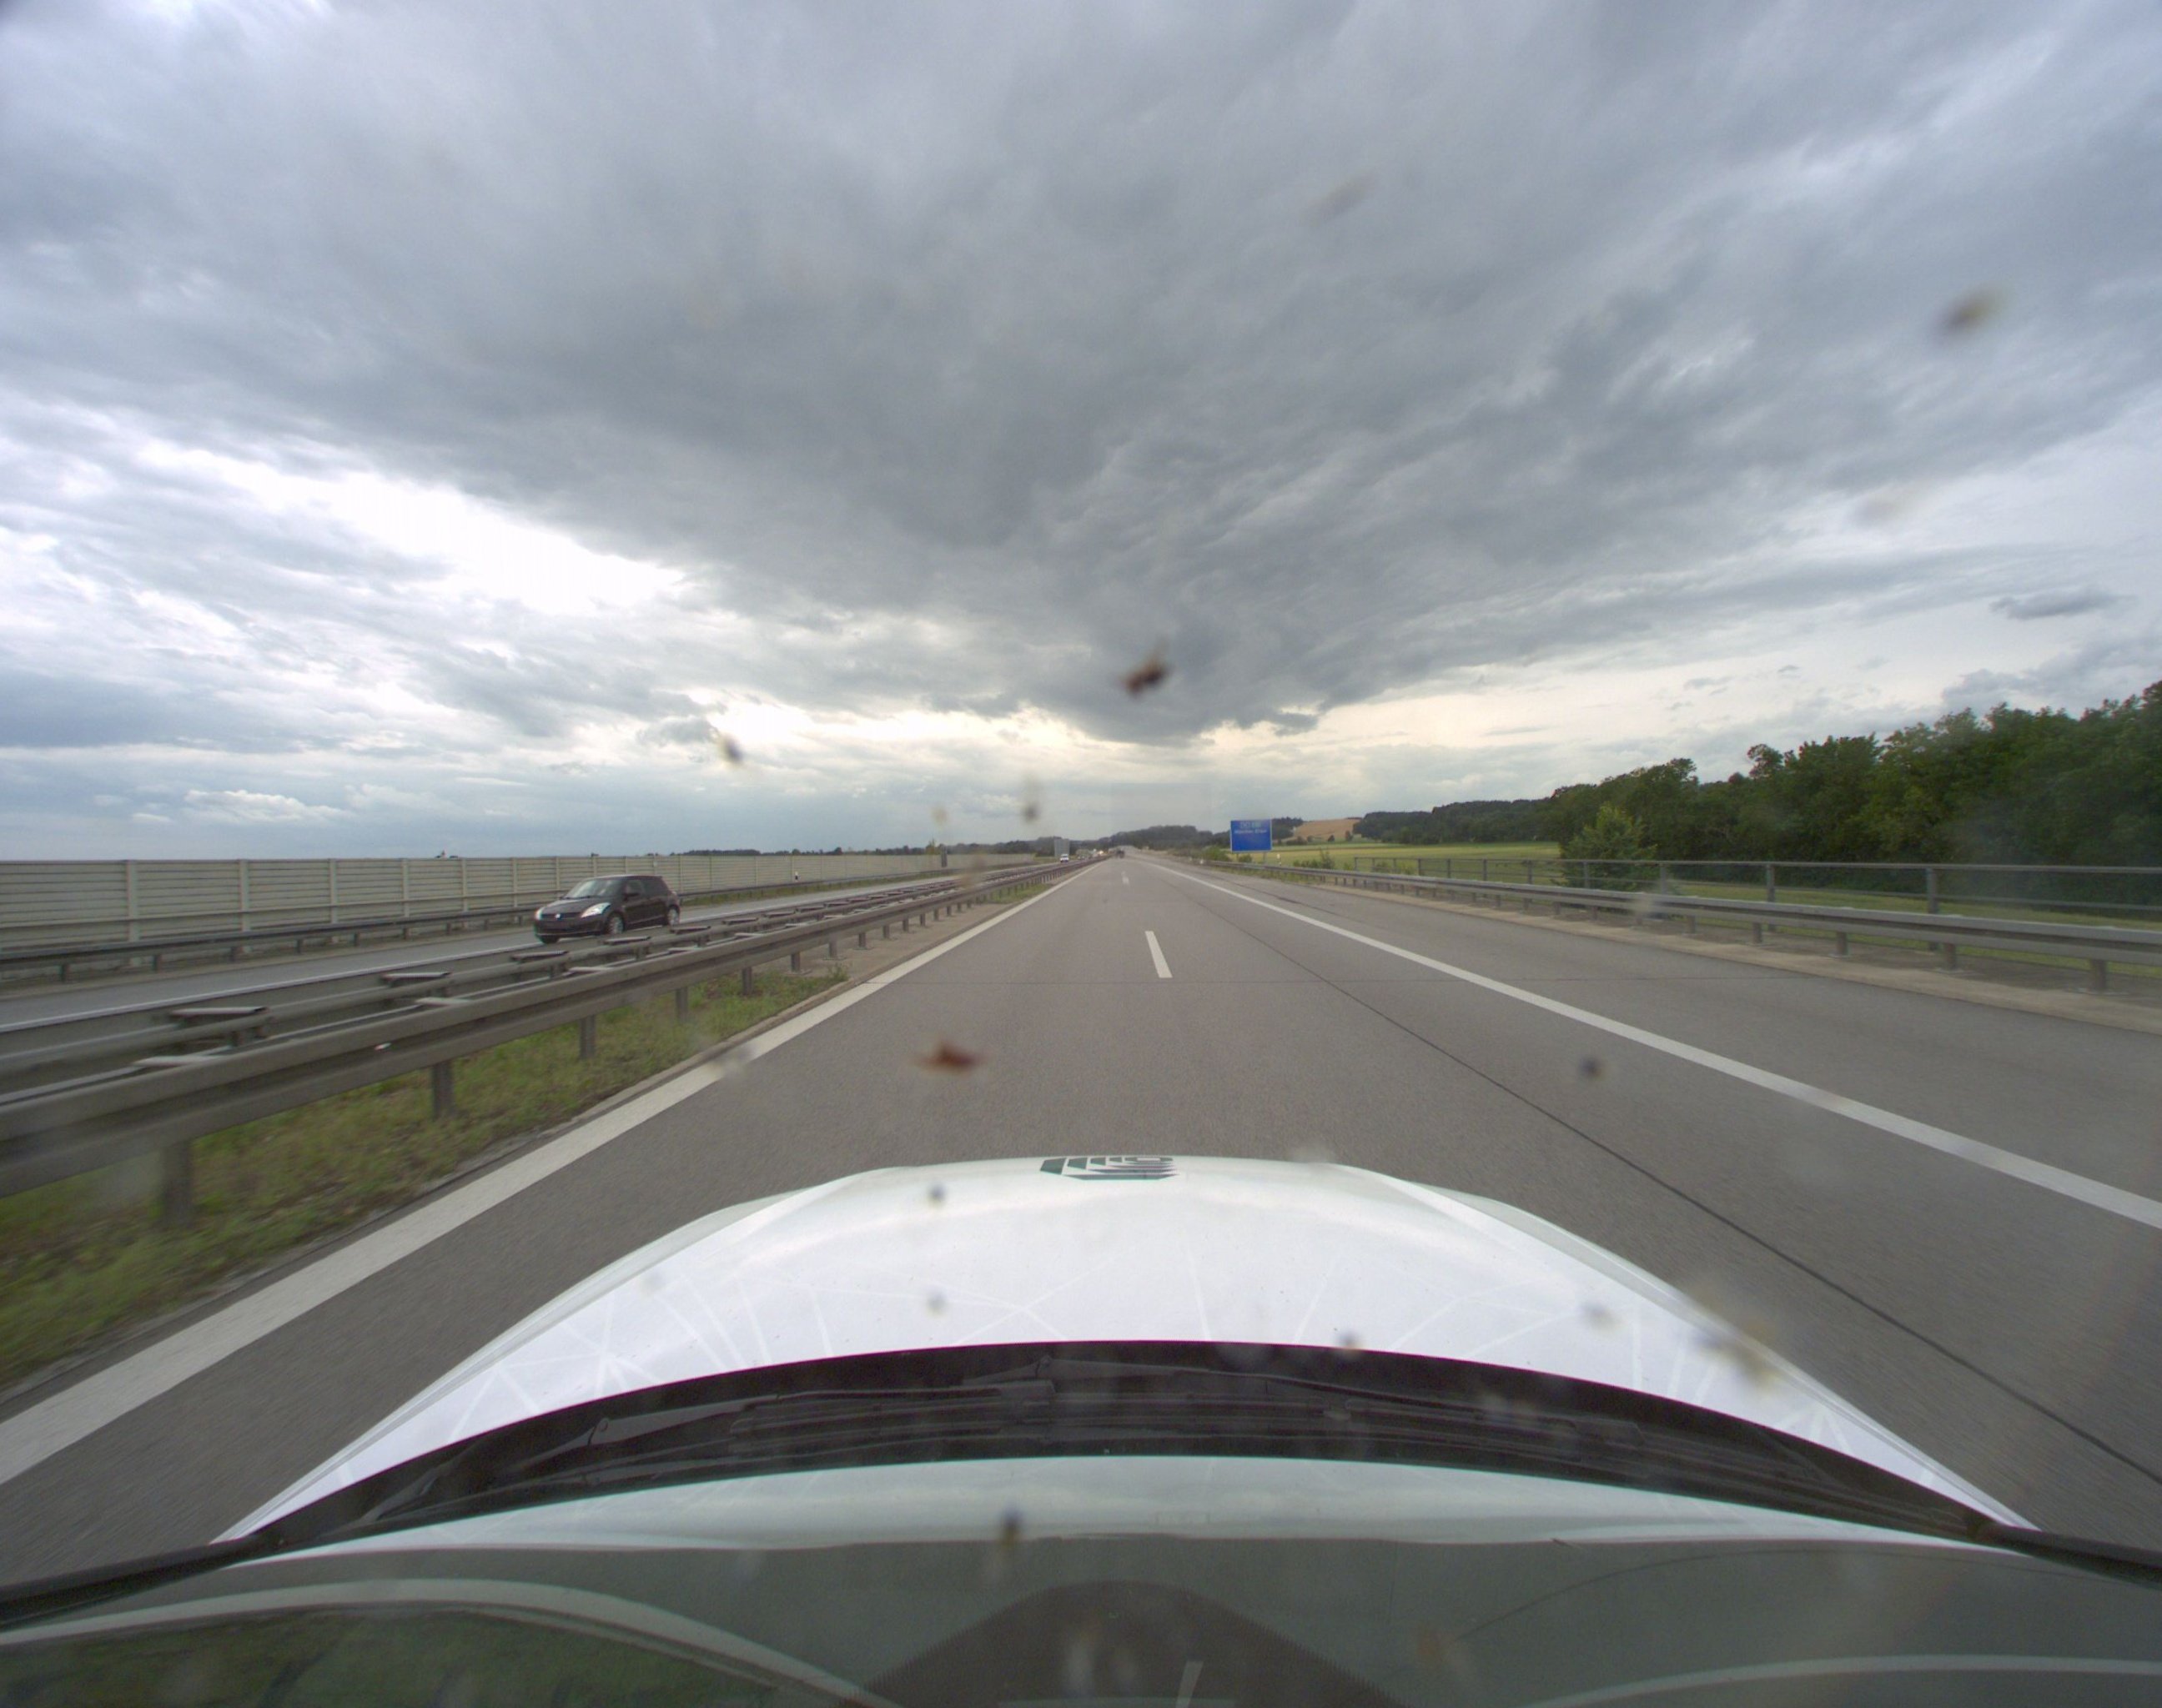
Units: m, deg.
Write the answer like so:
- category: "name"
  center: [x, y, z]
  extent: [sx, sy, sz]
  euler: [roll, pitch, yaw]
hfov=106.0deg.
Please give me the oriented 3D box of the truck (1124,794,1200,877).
- category: "truck"
  center: [4.826, -1.006, 52.268]
  extent: [3.659, 4.412, 16.347]
  euler: [-1, 0, 2]

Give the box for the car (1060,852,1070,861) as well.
- category: "car"
  center: [-3.377, 0.508, 176.174]
  extent: [1.748, 1.742, 4.917]
  euler: [3, 0, 3]

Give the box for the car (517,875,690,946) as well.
- category: "car"
  center: [-11.389, 1.281, 19.796]
  extent: [1.664, 1.386, 4.002]
  euler: [-3, 0, 2]

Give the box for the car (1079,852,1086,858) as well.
- category: "car"
  center: [0.381, 0.218, 244.764]
  extent: [1.888, 1.631, 4.177]
  euler: [-4, 0, 3]
